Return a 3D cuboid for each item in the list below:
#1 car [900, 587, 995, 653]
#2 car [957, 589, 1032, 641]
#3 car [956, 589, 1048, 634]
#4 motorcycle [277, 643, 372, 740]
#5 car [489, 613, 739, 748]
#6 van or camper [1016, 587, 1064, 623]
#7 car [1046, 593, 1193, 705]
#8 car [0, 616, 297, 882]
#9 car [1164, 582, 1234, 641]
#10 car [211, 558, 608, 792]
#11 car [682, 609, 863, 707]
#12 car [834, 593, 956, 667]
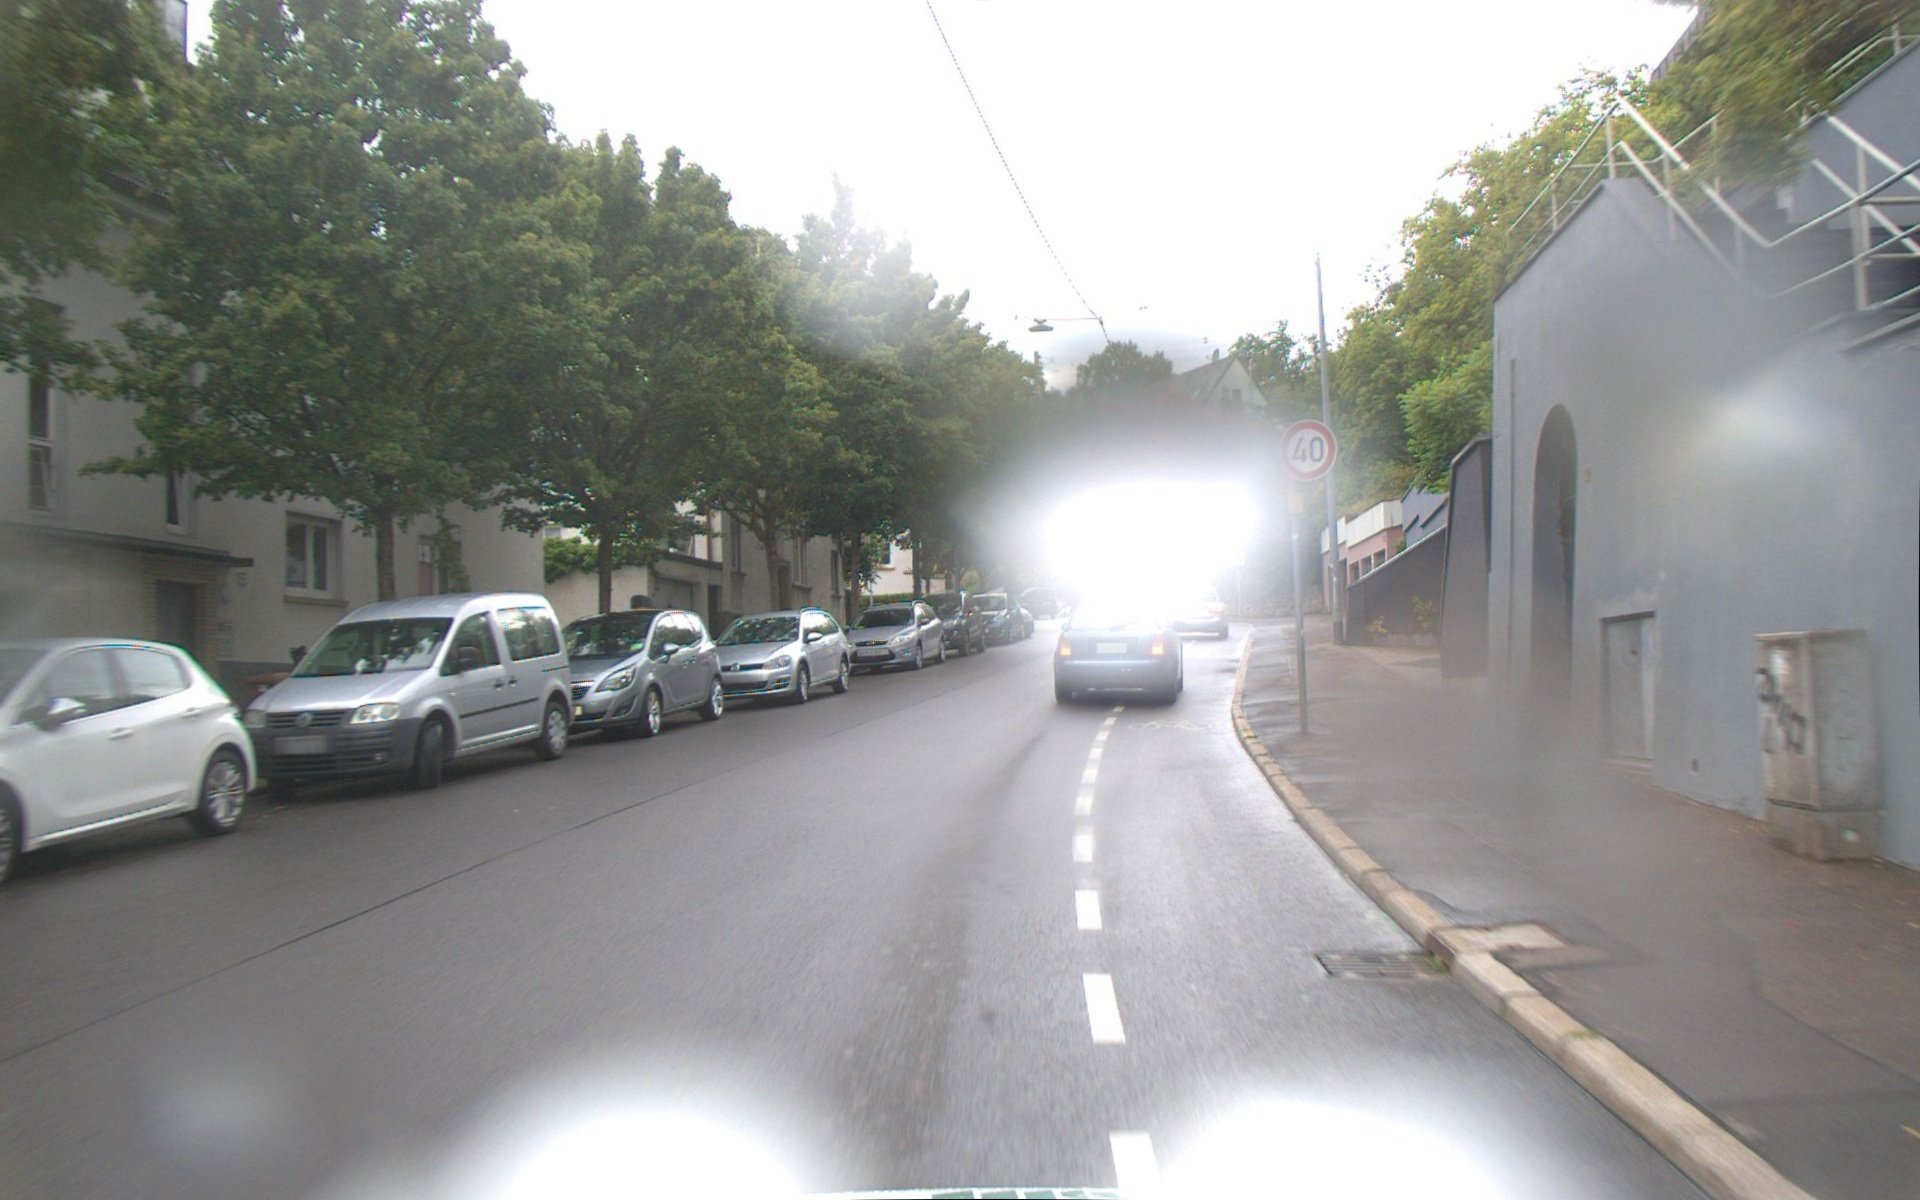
[{"bbox_3d":[-0.290,0.520,44.163,1.766,1.655,4.143,-1,0,10],"label":"car"},{"bbox_3d":[1.126,0.441,51.501,1.676,1.488,3.885,0,2,11],"label":"car"},{"bbox_3d":[1.395,0.404,56.267,1.961,1.415,4.179,-2,0,-16],"label":"car"},{"bbox_3d":[-8.114,1.153,21.179,0.402,1.118,1.622,-2,0,6],"label":"motorcycle"},{"bbox_3d":[-4.431,1.001,21.872,1.766,1.511,4.239,-4,-1,9],"label":"car"},{"bbox_3d":[4.756,0.311,99.105,1.958,2.049,3.988,0,-2,-12],"label":"van or camper"},{"bbox_3d":[2.442,0.655,24.364,1.814,1.438,4.365,-2,0,10],"label":"car"},{"bbox_3d":[-6.341,0.953,10.980,1.747,1.540,4.348,-4,-2,5],"label":"car"},{"bbox_3d":[7.006,0.297,48.325,1.908,1.588,4.267,2,1,9],"label":"car"},{"bbox_3d":[-5.334,0.696,16.770,1.873,2.036,4.552,-1,-1,10],"label":"car"},{"bbox_3d":[-2.995,0.926,27.457,1.766,1.479,4.600,-1,-1,10],"label":"car"},{"bbox_3d":[-1.415,0.681,38.000,1.766,1.579,4.803,-1,-1,10],"label":"car"}]
